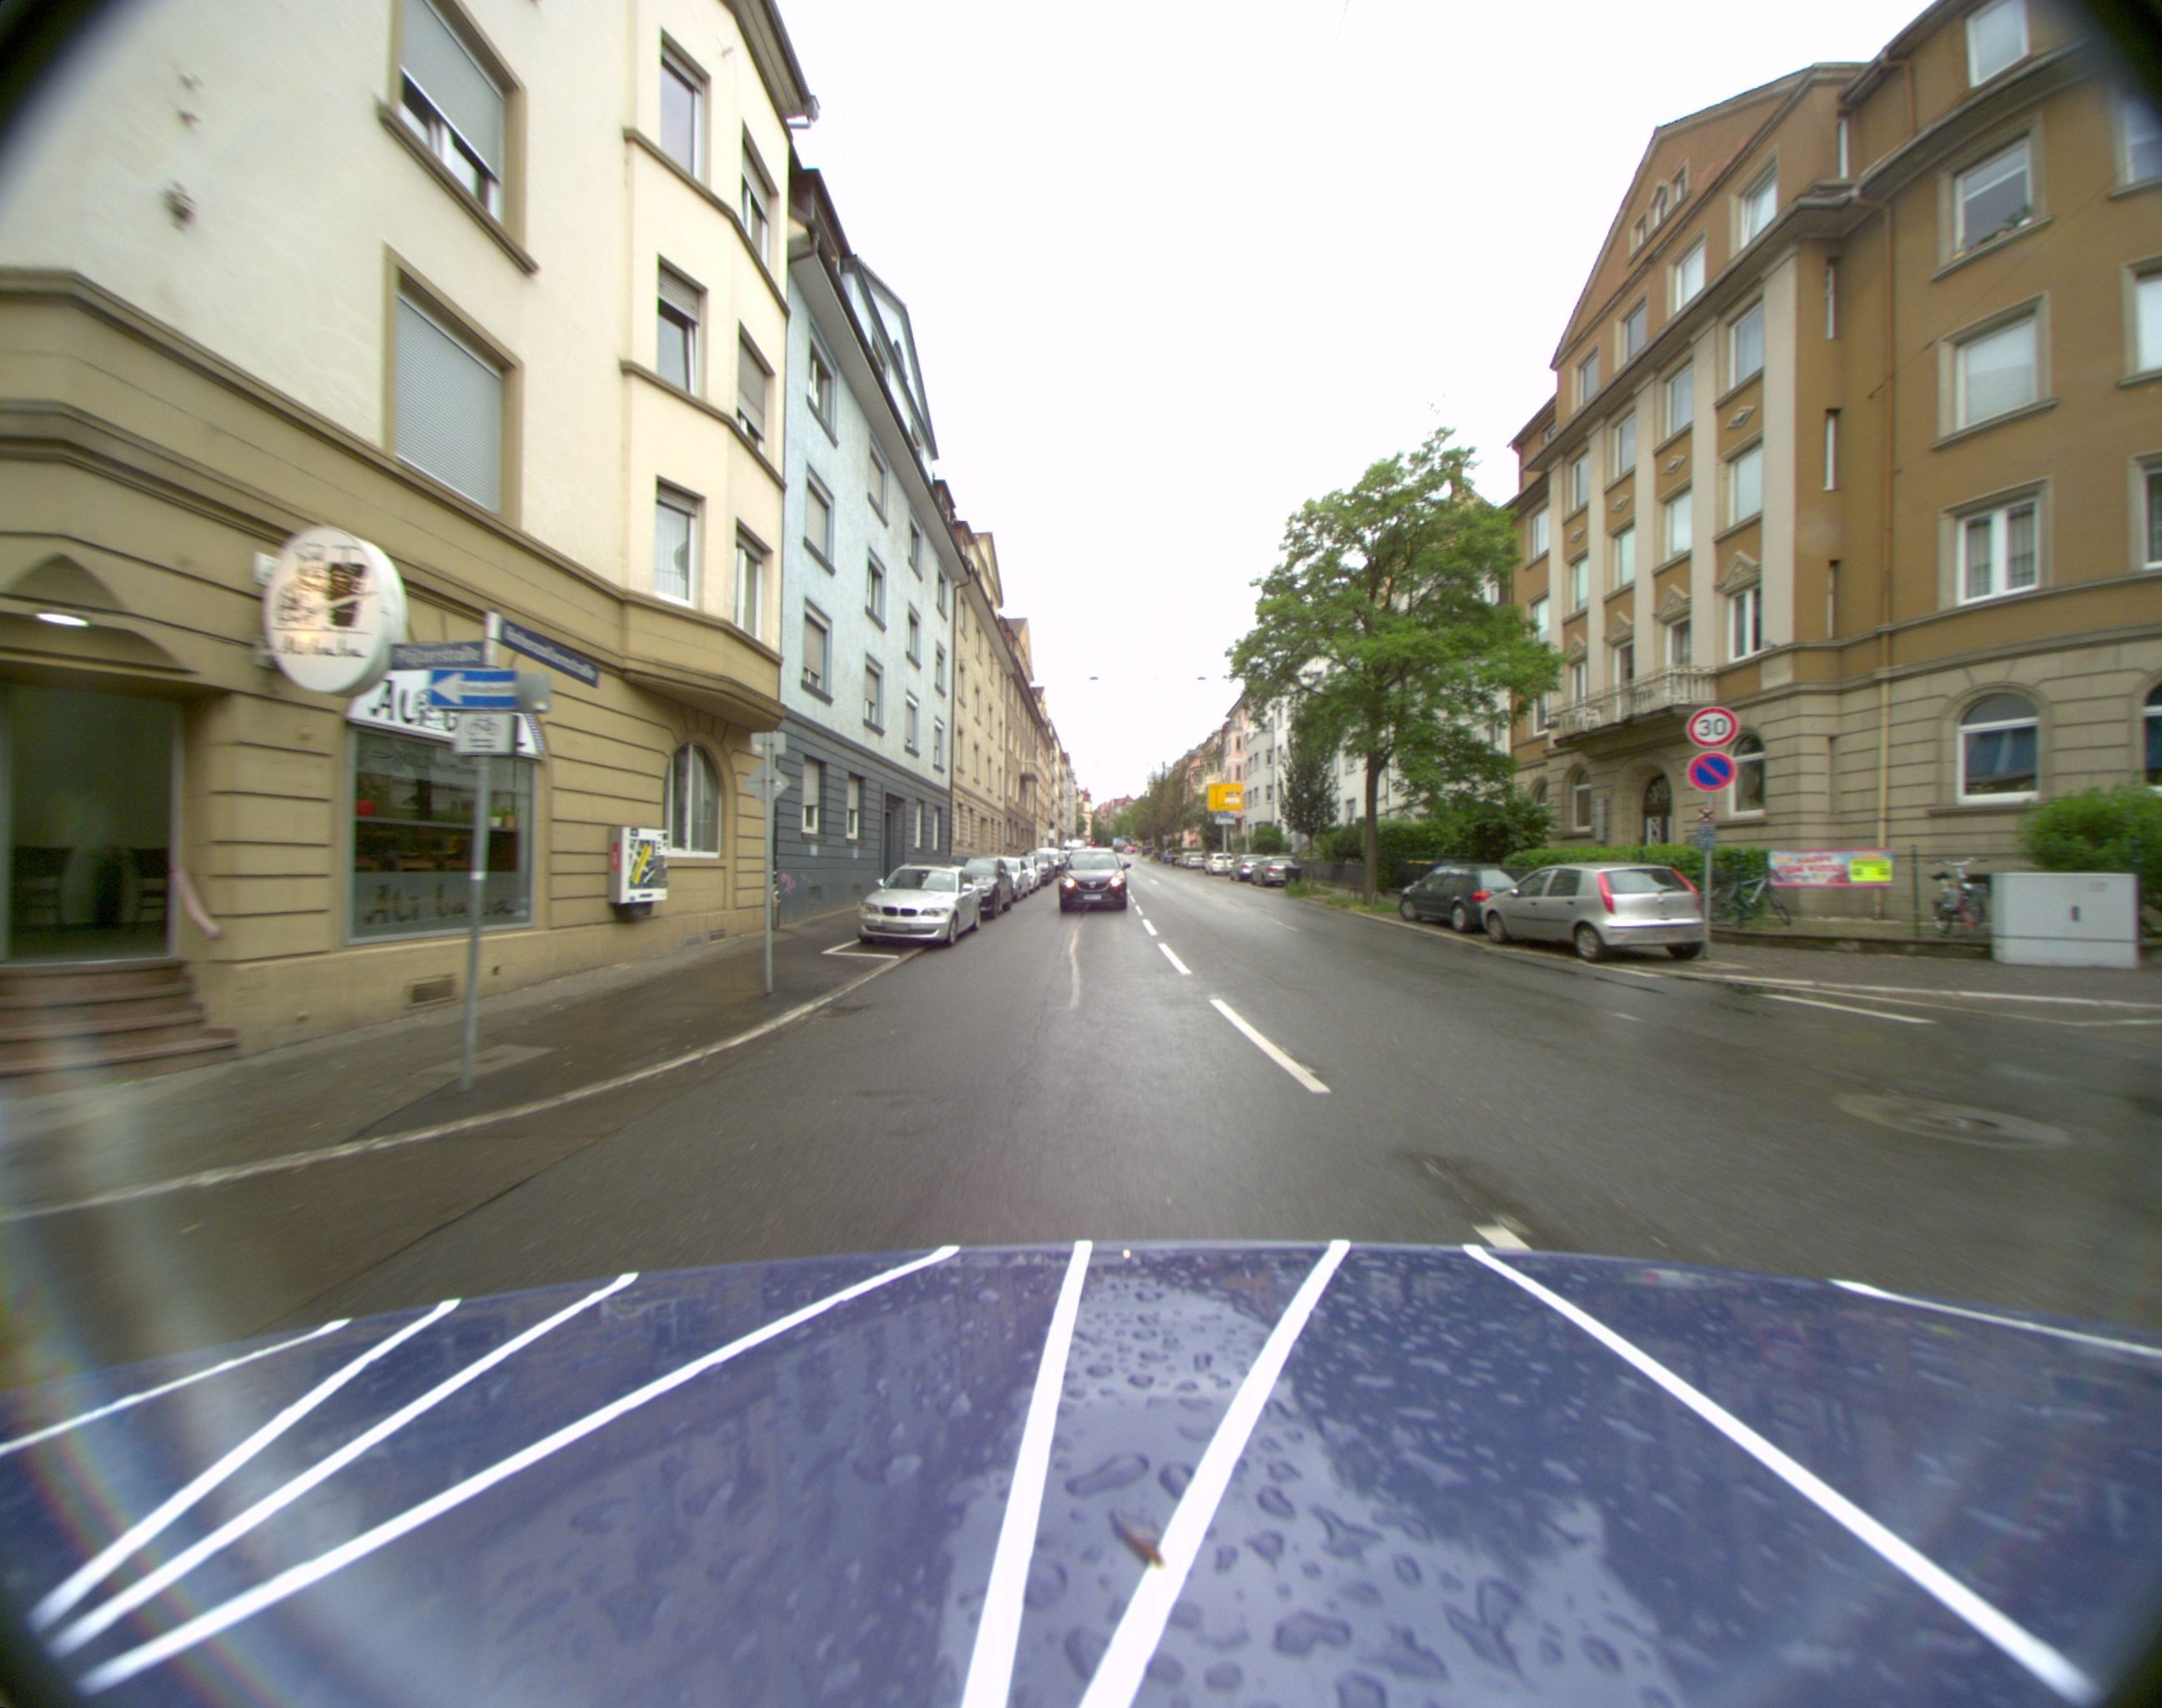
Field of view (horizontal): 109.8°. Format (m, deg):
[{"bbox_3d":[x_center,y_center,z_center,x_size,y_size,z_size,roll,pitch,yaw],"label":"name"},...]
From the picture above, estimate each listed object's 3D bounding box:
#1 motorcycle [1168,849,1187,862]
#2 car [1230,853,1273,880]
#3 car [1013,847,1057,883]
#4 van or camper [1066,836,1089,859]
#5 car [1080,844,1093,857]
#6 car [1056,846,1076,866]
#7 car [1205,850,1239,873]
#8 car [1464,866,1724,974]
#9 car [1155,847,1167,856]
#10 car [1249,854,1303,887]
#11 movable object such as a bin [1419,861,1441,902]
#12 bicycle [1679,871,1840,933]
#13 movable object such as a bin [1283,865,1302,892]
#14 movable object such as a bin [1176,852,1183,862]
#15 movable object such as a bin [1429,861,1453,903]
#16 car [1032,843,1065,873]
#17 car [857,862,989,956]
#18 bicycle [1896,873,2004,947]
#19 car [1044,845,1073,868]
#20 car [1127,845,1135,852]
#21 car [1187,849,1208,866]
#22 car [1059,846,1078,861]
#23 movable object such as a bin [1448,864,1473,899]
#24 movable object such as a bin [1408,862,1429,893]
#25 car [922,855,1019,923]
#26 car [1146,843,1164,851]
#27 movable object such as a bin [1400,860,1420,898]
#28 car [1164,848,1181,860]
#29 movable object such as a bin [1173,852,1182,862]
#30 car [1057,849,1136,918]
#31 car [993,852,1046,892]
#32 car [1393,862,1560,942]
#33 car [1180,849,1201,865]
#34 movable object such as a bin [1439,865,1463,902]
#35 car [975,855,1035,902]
[{"bbox_3d":[9.963,0.159,78.196,1.806,1.307,0.743,1,2,43],"label":"motorcycle"},{"bbox_3d":[9.396,0.663,42.115,1.686,1.382,3.909,-1,1,2],"label":"car"},{"bbox_3d":[-2.232,0.519,37.872,1.845,1.612,4.207,1,1,1],"label":"car"},{"bbox_3d":[-0.355,-0.801,91.236,2.189,2.684,6.420,1,1,4],"label":"van or camper"},{"bbox_3d":[0.879,-0.528,122.544,1.994,1.945,4.822,-2,1,2],"label":"car"},{"bbox_3d":[-1.275,0.137,66.636,1.636,1.629,4.194,3,1,0],"label":"car"},{"bbox_3d":[9.675,0.488,52.430,1.650,1.499,3.796,0,1,0],"label":"car"},{"bbox_3d":[8.173,0.953,12.589,1.636,1.445,3.839,-1,0,-2],"label":"car"},{"bbox_3d":[12.913,-0.386,122.656,1.685,1.410,4.137,1,1,2],"label":"car"},{"bbox_3d":[9.253,0.745,36.316,1.686,1.382,3.936,-1,1,2],"label":"car"},{"bbox_3d":[11.488,0.891,25.019,0.440,1.301,0.650,0,1,1],"label":"movable object such as a bin"},{"bbox_3d":[12.168,0.842,13.662,2.349,1.040,0.806,0,1,-7],"label":"bicycle"},{"bbox_3d":[8.748,1.002,31.403,0.631,1.052,0.600,0,2,2],"label":"movable object such as a bin"},{"bbox_3d":[10.330,0.310,79.567,0.526,1.052,0.482,-4,2,-20],"label":"movable object such as a bin"},{"bbox_3d":[11.543,0.889,24.376,0.440,1.301,0.609,1,1,1],"label":"movable object such as a bin"},{"bbox_3d":[-2.020,0.240,48.809,1.795,1.807,4.080,1,1,2],"label":"car"},{"bbox_3d":[-2.952,0.965,14.994,1.573,1.455,4.089,2,1,2],"label":"car"},{"bbox_3d":[12.998,0.804,11.362,1.708,1.005,0.805,1,0,-32],"label":"bicycle"},{"bbox_3d":[-1.573,0.123,54.894,1.795,1.539,4.226,1,1,2],"label":"car"},{"bbox_3d":[12.097,-1.302,182.794,1.771,1.540,3.652,-1,2,2],"label":"car"},{"bbox_3d":[10.427,0.283,68.269,1.604,1.443,3.888,-2,1,6],"label":"car"},{"bbox_3d":[-1.255,-0.086,80.056,1.782,1.471,4.587,0,2,2],"label":"car"},{"bbox_3d":[11.444,0.813,22.906,0.427,1.035,0.650,0,1,1],"label":"movable object such as a bin"},{"bbox_3d":[11.506,0.787,25.901,0.440,1.033,0.650,0,1,1],"label":"movable object such as a bin"},{"bbox_3d":[-2.868,0.850,20.630,1.822,1.549,4.293,2,1,2],"label":"car"},{"bbox_3d":[16.853,-1.633,172.506,3.929,1.836,1.867,1,2,0],"label":"car"},{"bbox_3d":[11.593,0.875,26.800,0.440,1.292,0.650,0,1,1],"label":"movable object such as a bin"},{"bbox_3d":[11.363,-0.039,94.188,1.683,1.378,4.602,0,2,2],"label":"car"},{"bbox_3d":[10.240,0.336,80.676,0.826,1.052,0.483,-3,2,3],"label":"movable object such as a bin"},{"bbox_3d":[0.382,0.728,20.889,1.889,1.543,3.999,-3,2,0],"label":"car"},{"bbox_3d":[-2.501,0.704,31.641,1.733,1.421,3.973,3,1,2],"label":"car"},{"bbox_3d":[8.632,0.964,16.991,1.658,1.445,3.942,-2,1,0],"label":"car"},{"bbox_3d":[10.507,0.248,73.061,1.604,1.389,3.886,0,2,1],"label":"car"},{"bbox_3d":[11.490,0.904,23.611,0.440,1.124,0.657,0,1,1],"label":"movable object such as a bin"},{"bbox_3d":[-2.618,0.804,26.852,1.587,1.421,3.595,3,1,2],"label":"car"}]
